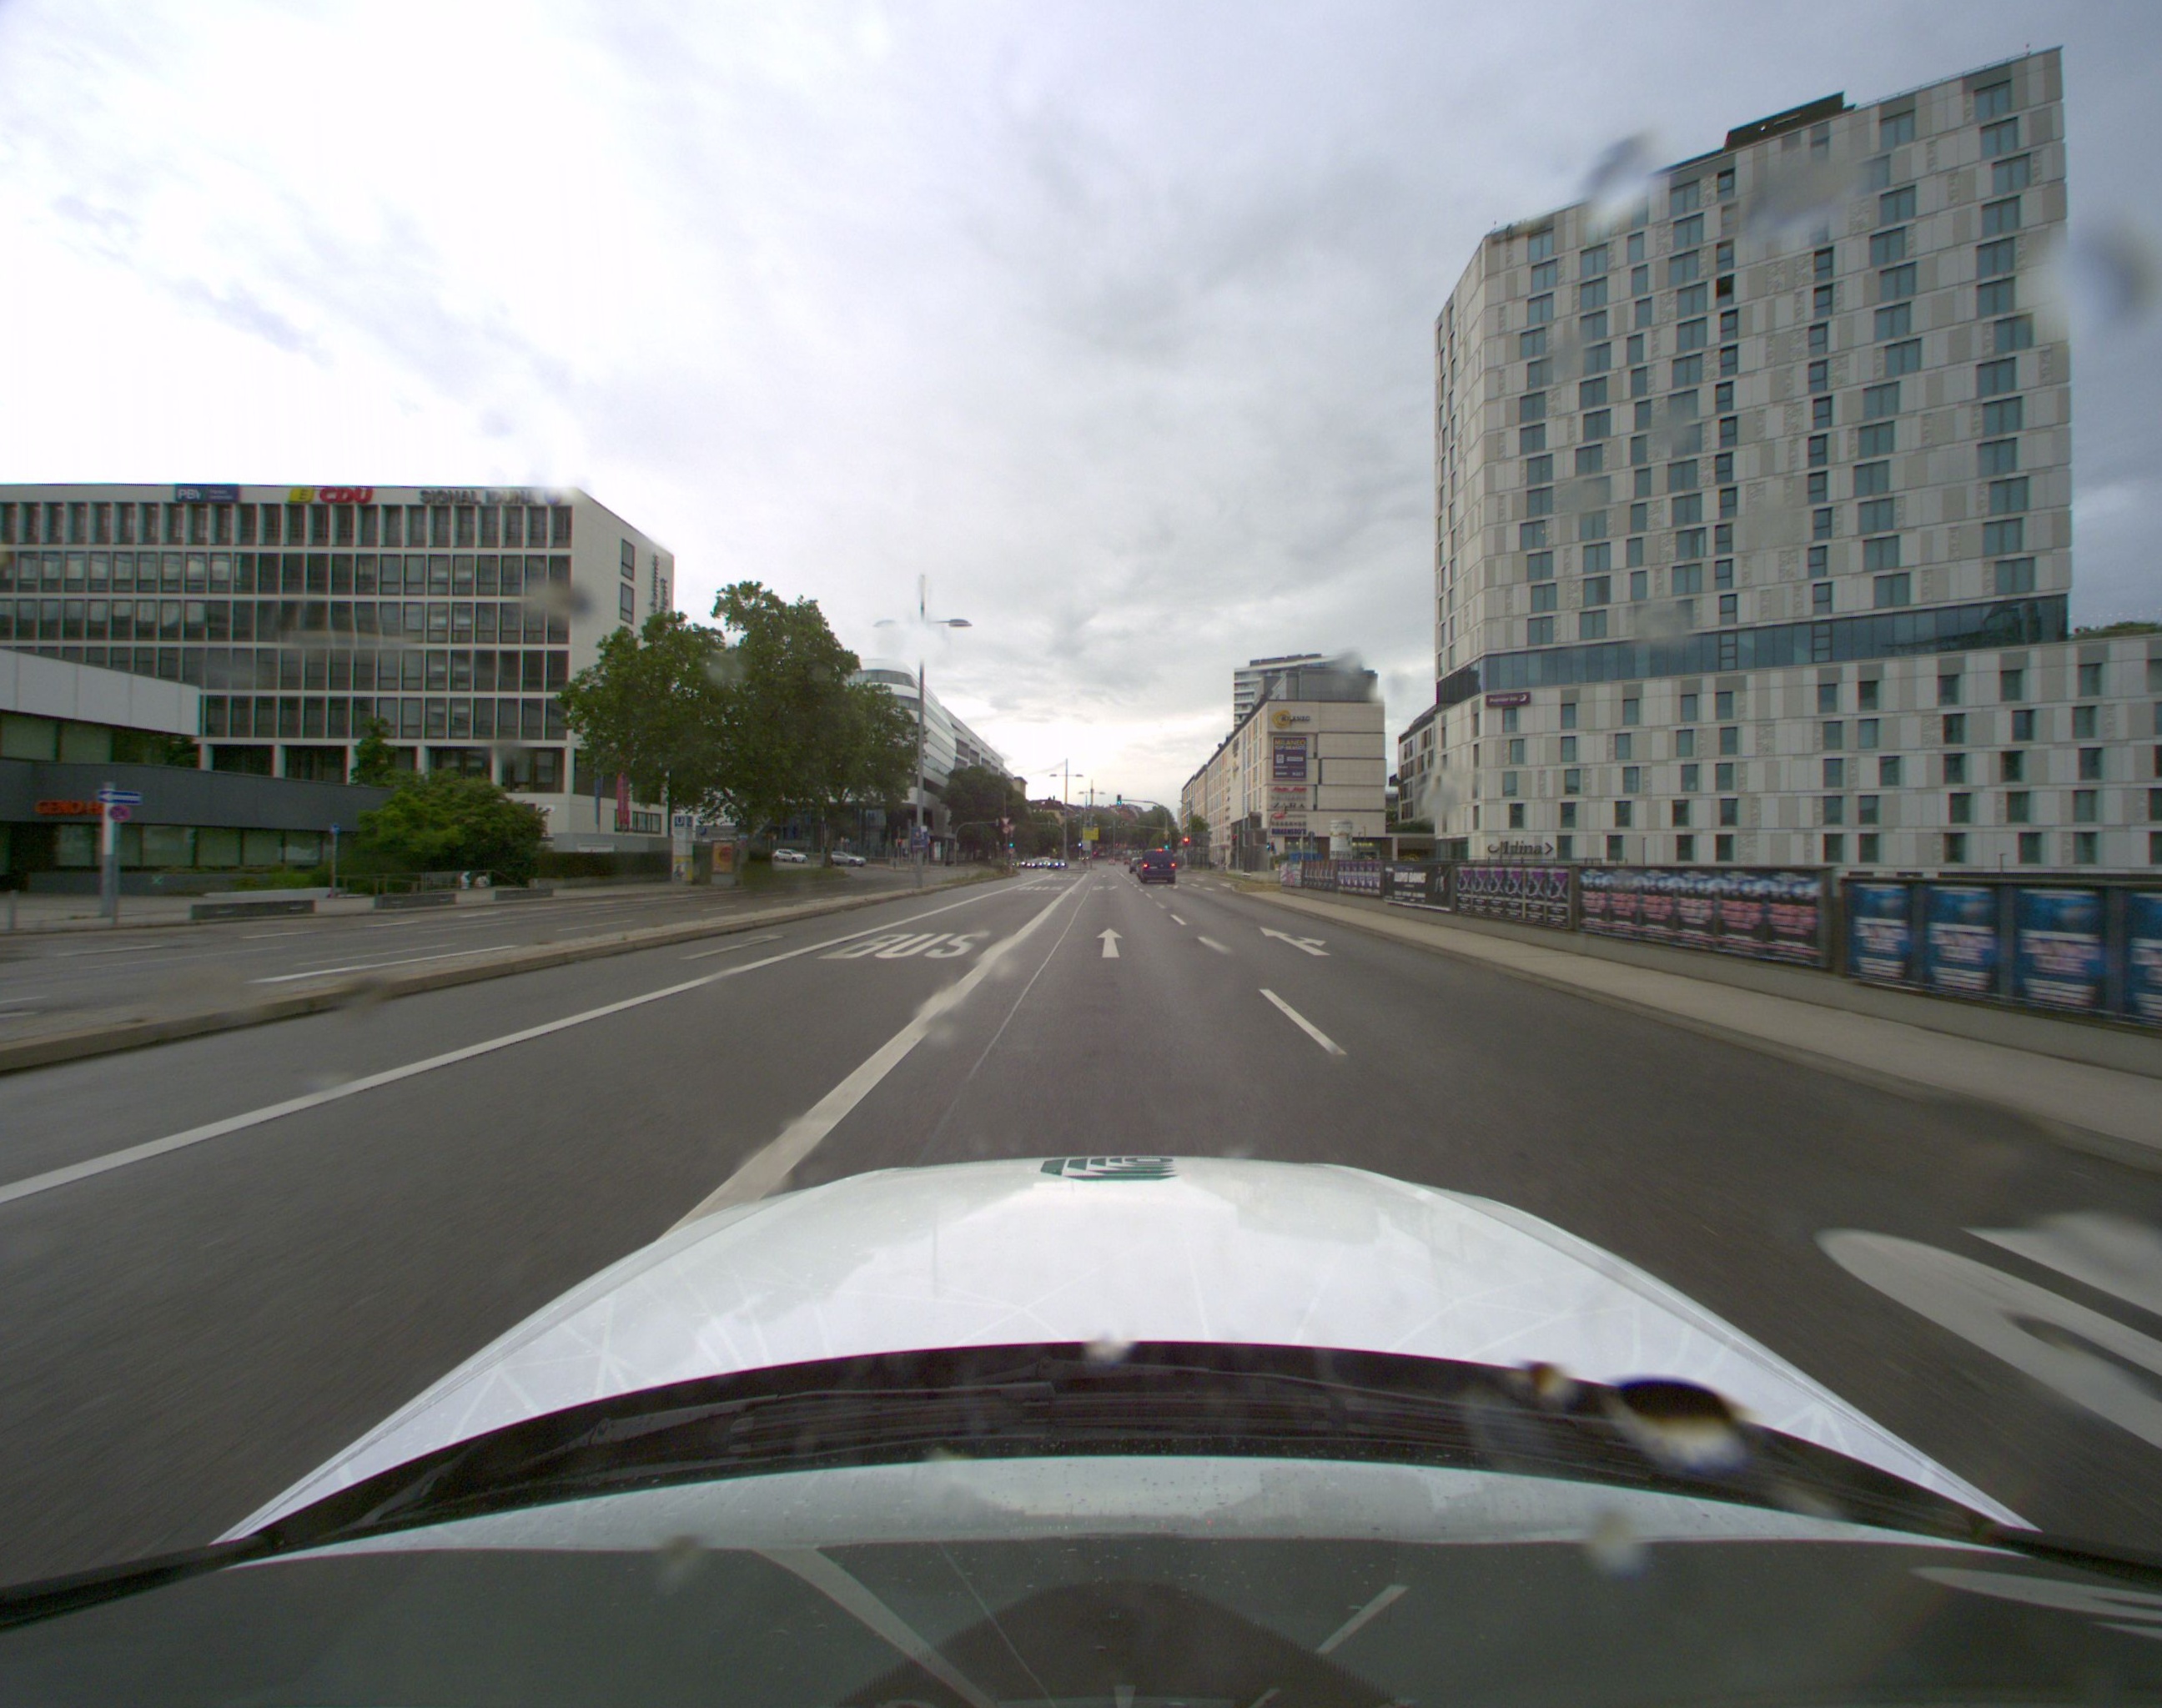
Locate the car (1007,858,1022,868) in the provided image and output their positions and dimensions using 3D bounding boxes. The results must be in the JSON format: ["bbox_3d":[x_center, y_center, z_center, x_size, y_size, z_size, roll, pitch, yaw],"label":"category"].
[{"bbox_3d":[-9.792,1.329,120.503,1.736,1.328,4.227,-1,-1,2],"label":"car"}]

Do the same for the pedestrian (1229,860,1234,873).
[{"bbox_3d":[18.970,1.550,102.686,0.548,1.611,0.698,-1,-1,2],"label":"pedestrian"}]

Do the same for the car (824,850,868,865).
[{"bbox_3d":[-26.881,0.405,93.282,4.465,1.631,1.903,-1,-1,18],"label":"car"}]

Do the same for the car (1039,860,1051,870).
[{"bbox_3d":[-6.225,1.884,141.455,1.736,1.748,3.541,-1,-1,2],"label":"car"}]

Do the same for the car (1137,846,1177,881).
[{"bbox_3d":[4.496,0.510,48.687,2.025,1.882,5.045,-3,1,3],"label":"car"}]

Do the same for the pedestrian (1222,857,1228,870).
[{"bbox_3d":[18.149,1.156,102.780,0.610,1.611,0.819,-1,-1,2],"label":"pedestrian"}]

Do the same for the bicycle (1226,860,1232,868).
[{"bbox_3d":[18.692,1.290,102.770,0.447,1.016,1.743,-1,-1,2],"label":"bicycle"}]

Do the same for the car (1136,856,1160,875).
[{"bbox_3d":[5.488,0.944,67.047,1.717,1.531,3.816,-1,-1,2],"label":"car"}]

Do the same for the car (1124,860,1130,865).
[{"bbox_3d":[14.457,2.554,257.901,1.733,1.531,3.816,-1,-1,2],"label":"car"}]

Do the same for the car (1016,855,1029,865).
[{"bbox_3d":[-9.568,0.931,133.413,1.736,1.559,3.541,-1,-1,2],"label":"car"}]

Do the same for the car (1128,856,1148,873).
[{"bbox_3d":[5.462,1.002,78.296,1.733,1.531,3.816,-1,-1,2],"label":"car"}]

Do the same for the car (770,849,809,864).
[{"bbox_3d":[-34.367,0.307,96.062,3.955,1.631,1.903,-1,-1,18],"label":"car"}]

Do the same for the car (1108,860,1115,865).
[{"bbox_3d":[9.218,2.534,245.803,1.736,1.531,3.808,-1,0,-4],"label":"car"}]

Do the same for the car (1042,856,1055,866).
[{"bbox_3d":[-4.749,1.092,119.327,1.736,1.444,3.396,-1,-1,2],"label":"car"}]

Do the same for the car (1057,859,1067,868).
[{"bbox_3d":[-3.214,1.679,138.529,1.532,1.477,3.698,-1,-1,2],"label":"car"}]

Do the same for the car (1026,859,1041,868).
[{"bbox_3d":[-7.007,1.395,120.507,1.736,1.257,3.542,0,0,2],"label":"car"}]
